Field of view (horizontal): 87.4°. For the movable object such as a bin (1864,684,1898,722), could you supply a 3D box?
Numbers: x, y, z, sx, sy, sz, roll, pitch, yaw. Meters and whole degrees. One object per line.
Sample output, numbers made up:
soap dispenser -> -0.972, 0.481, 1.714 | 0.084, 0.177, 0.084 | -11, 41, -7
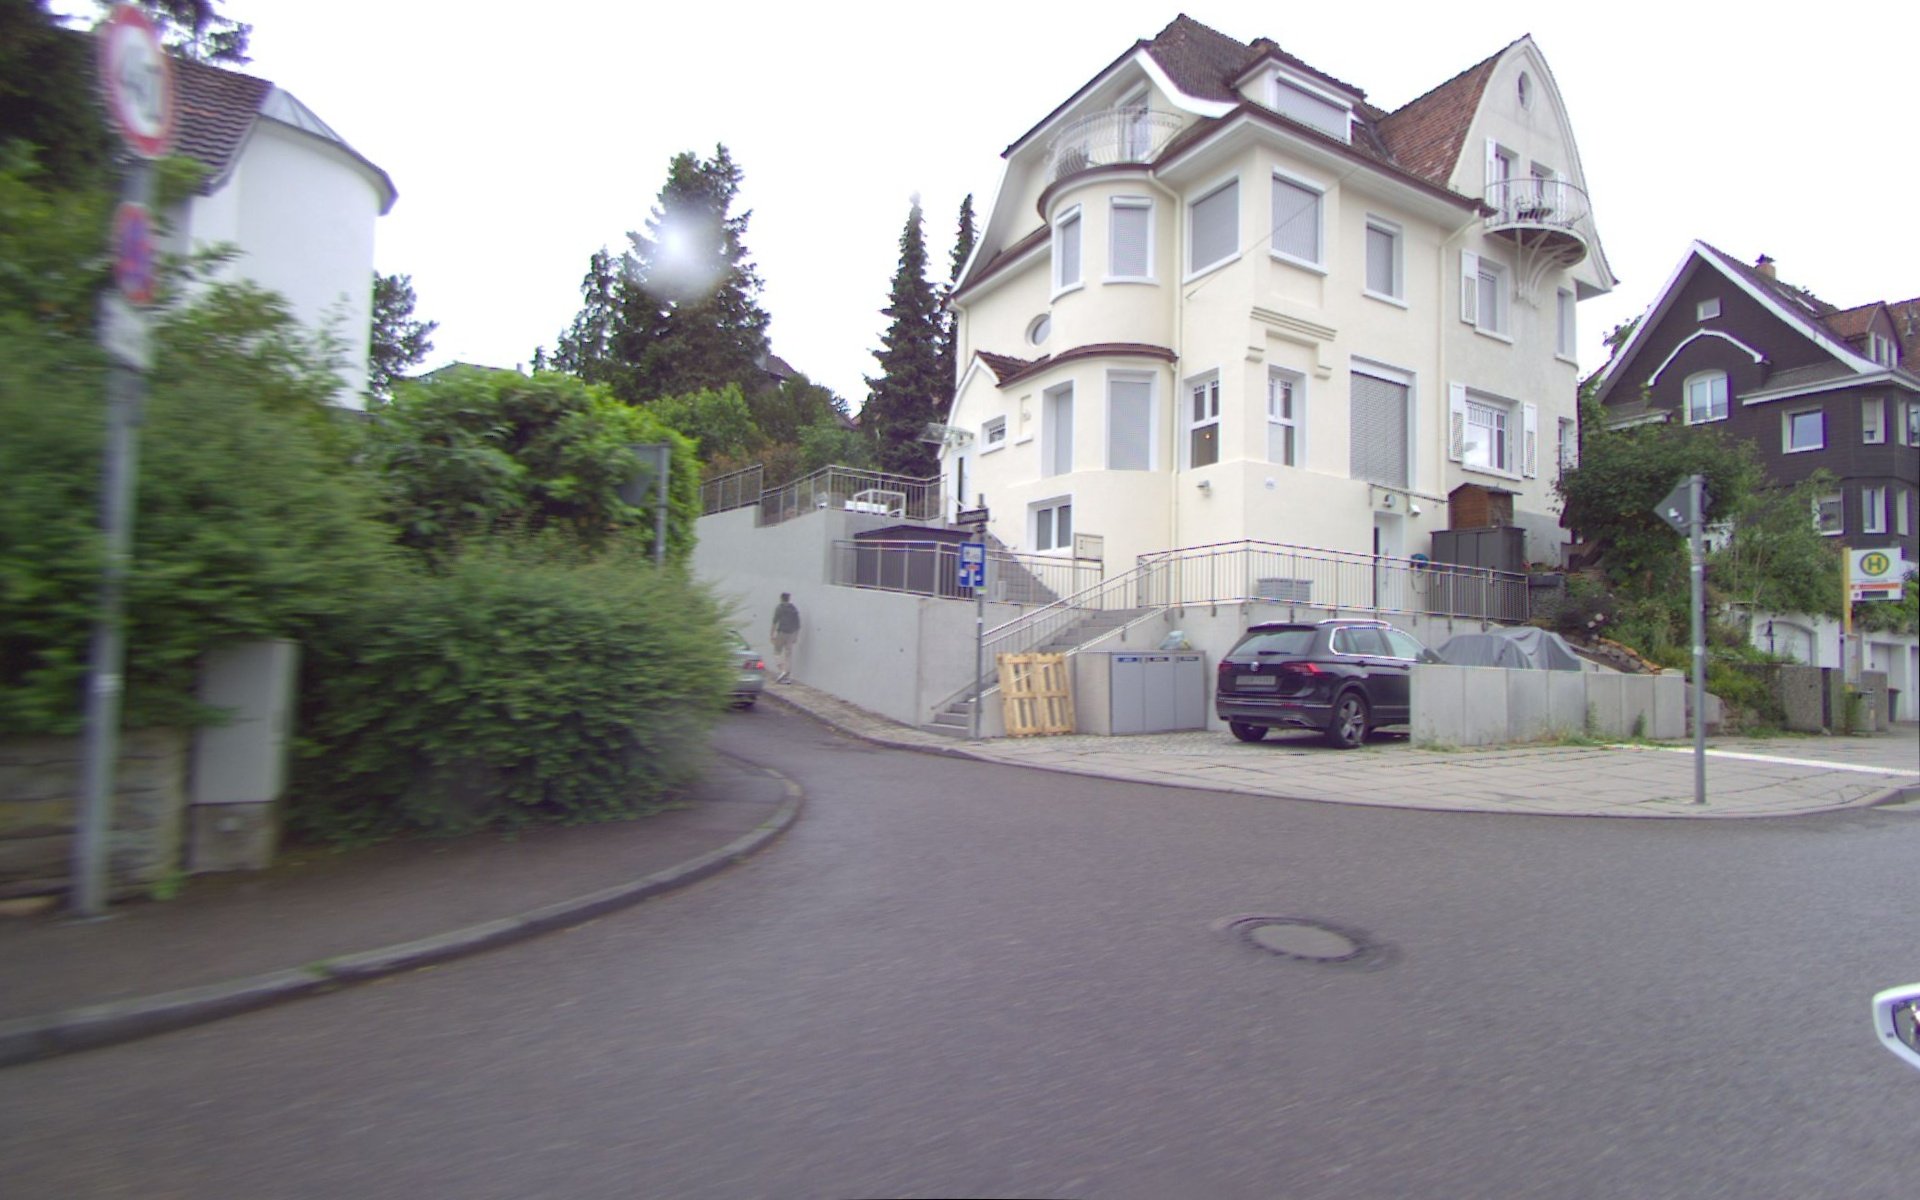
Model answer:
movable object such as a bin -> 24.594, 2.738, 26.813 | 0.508, 0.966, 0.570 | 2, -2, -35

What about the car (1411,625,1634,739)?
car -> 9.594, 1.321, 17.062 | 3.959, 1.719, 1.755 | 2, -2, -35

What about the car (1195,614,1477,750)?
car -> 5.302, 1.072, 14.020 | 3.959, 1.639, 1.755 | 2, -2, -35

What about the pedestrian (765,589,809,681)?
pedestrian -> -3.626, 0.731, 21.018 | 0.632, 1.876, 0.805 | 2, -2, -31

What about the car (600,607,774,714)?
car -> -5.163, 1.011, 18.561 | 1.803, 1.577, 4.338 | 2, 1, -33
